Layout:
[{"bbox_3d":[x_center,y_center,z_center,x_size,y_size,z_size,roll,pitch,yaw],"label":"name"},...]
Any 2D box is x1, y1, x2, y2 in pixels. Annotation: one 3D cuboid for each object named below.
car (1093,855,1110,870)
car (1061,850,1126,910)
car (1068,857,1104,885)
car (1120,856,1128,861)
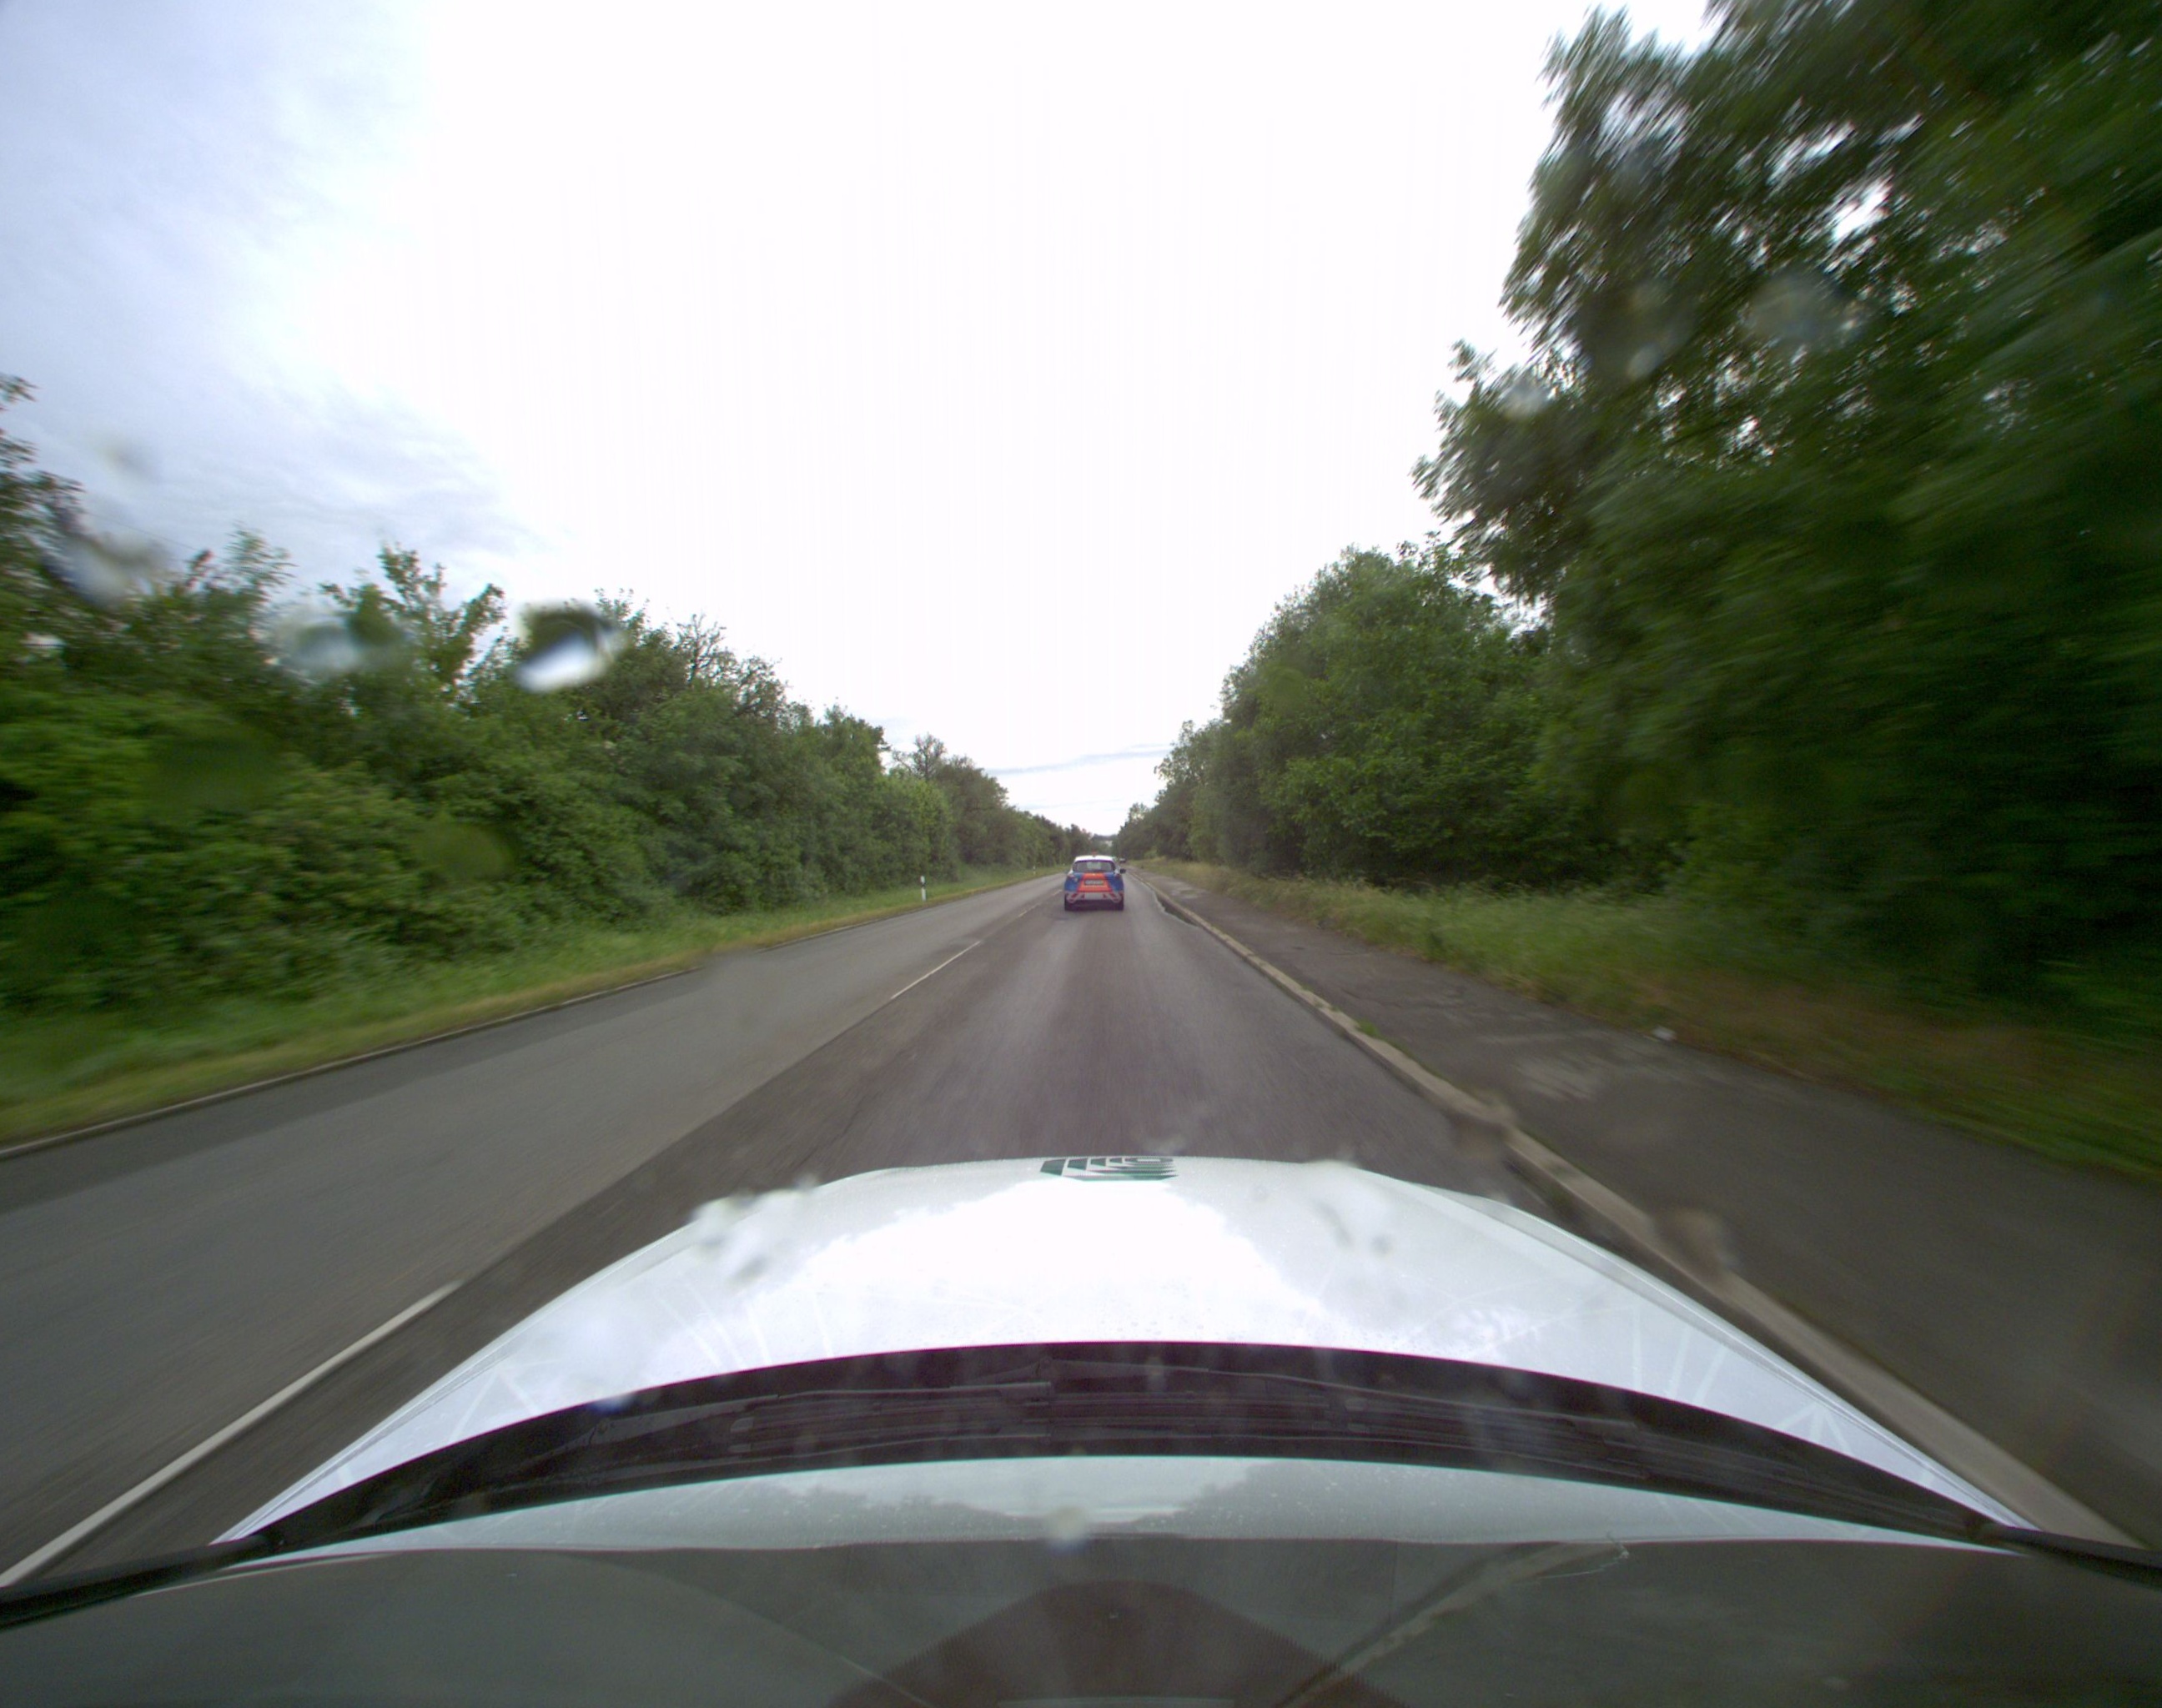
[{"bbox_3d":[2.633,1.030,104.083,1.934,1.723,4.066,-4,0,2],"label":"car"},{"bbox_3d":[0.417,0.713,24.442,1.745,1.555,3.794,-2,1,2],"label":"car"},{"bbox_3d":[0.299,0.831,41.678,1.592,1.287,3.478,-3,0,3],"label":"car"},{"bbox_3d":[12.406,1.305,235.109,1.985,1.376,4.003,-3,0,3],"label":"car"}]
